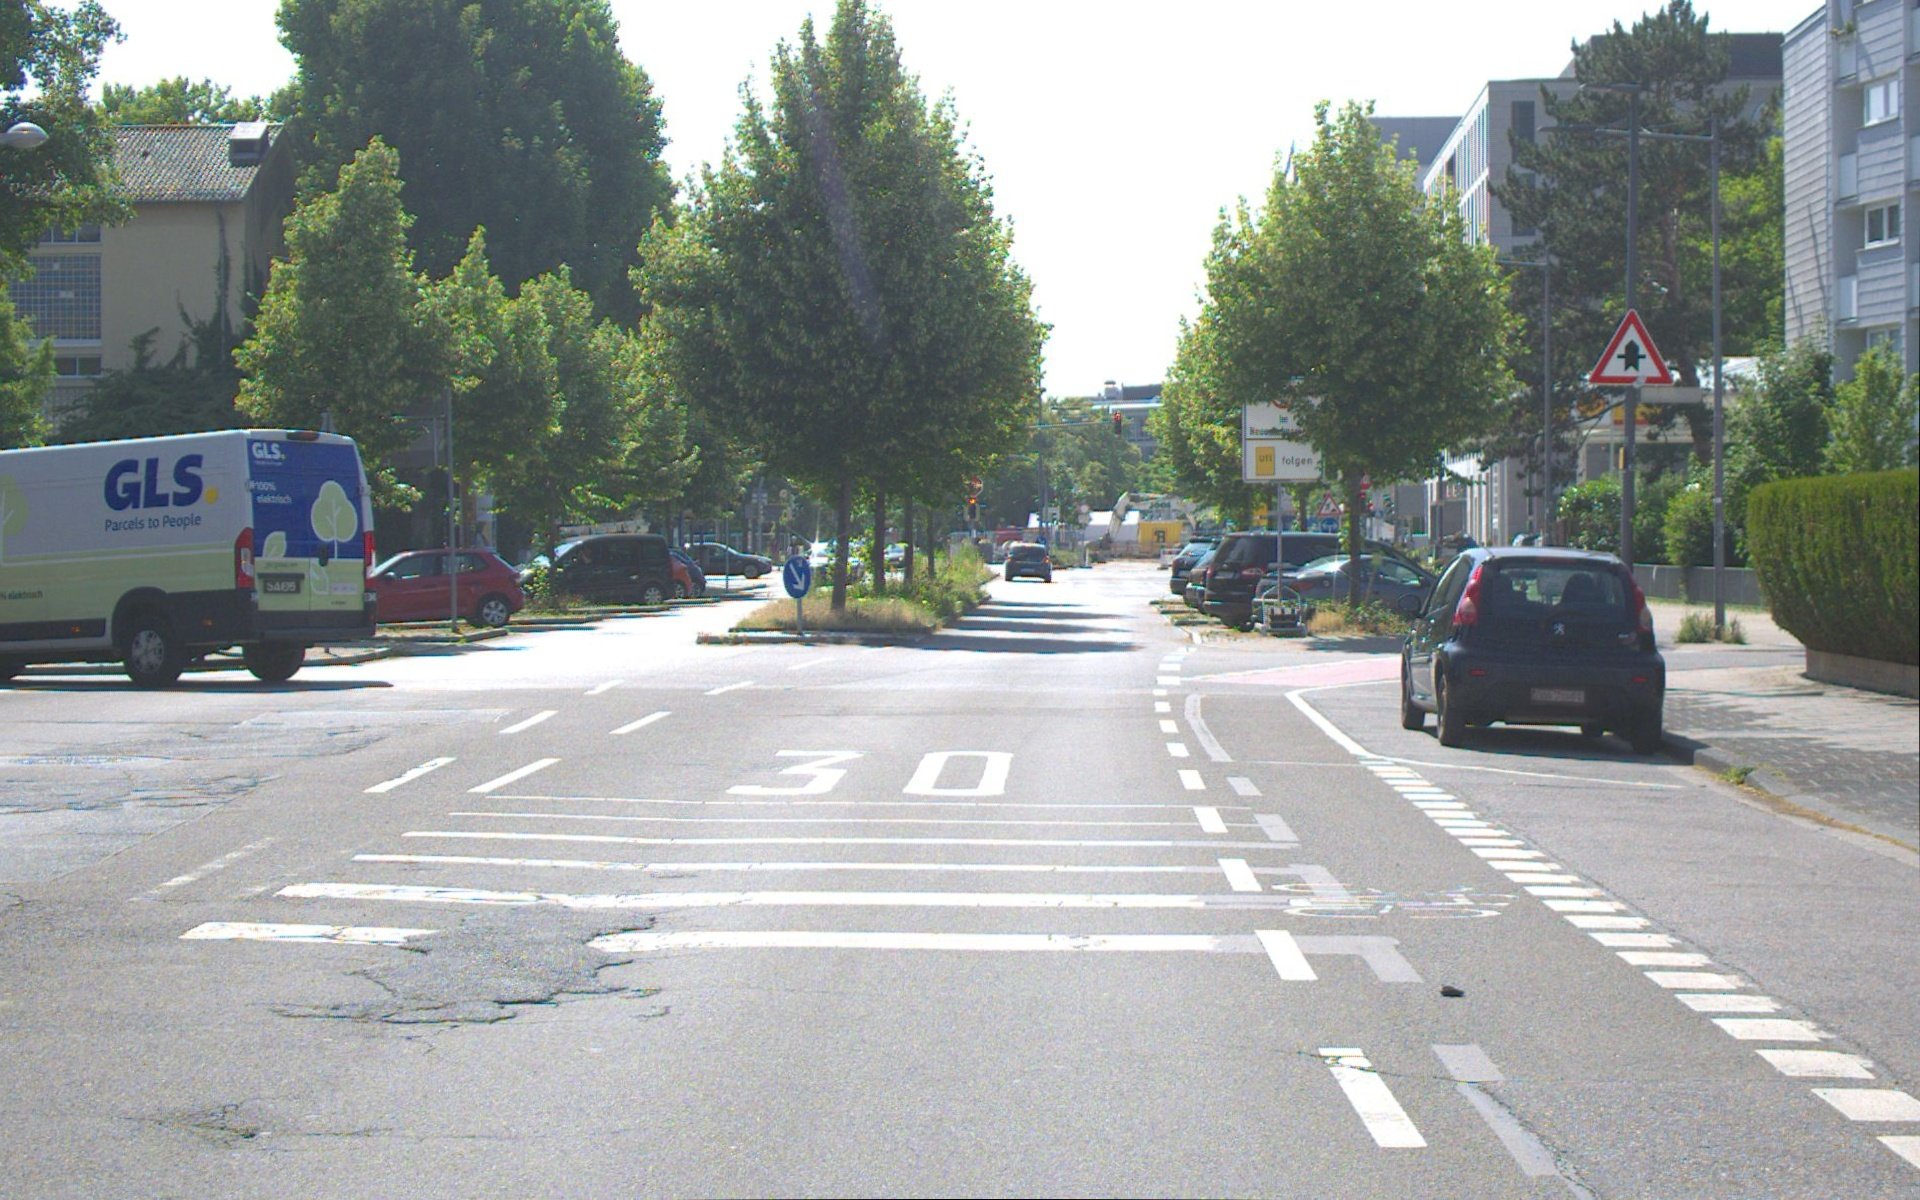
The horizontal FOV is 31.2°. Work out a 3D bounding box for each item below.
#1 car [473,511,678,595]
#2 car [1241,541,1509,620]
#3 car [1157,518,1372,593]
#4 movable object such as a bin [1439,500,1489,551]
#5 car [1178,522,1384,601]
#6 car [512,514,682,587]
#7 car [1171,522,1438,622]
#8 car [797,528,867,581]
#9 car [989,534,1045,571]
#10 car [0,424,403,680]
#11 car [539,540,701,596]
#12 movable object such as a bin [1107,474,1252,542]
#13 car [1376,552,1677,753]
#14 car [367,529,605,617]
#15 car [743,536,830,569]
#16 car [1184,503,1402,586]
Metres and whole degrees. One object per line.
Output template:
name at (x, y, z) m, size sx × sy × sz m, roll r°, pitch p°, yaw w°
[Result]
car at (-8.751, -1.090, 78.373) m, size 4.175 × 1.810 × 2.004 m, roll -2°, pitch 2°, yaw -35°
car at (6.733, -0.332, 55.779) m, size 3.986 × 1.232 × 1.753 m, roll 0°, pitch 1°, yaw -23°
car at (6.925, -1.020, 78.048) m, size 4.730 × 1.654 × 1.753 m, roll -1°, pitch 1°, yaw -31°
movable object such as a bin at (16.067, -2.373, 109.600) m, size 1.307 × 1.586 × 1.396 m, roll -3°, pitch 1°, yaw 0°
car at (6.700, -0.812, 71.963) m, size 3.986 × 1.634 × 1.753 m, roll 0°, pitch 1°, yaw -10°
car at (-8.929, -1.217, 84.555) m, size 3.761 × 1.766 × 1.819 m, roll 0°, pitch 1°, yaw -26°
car at (5.854, -0.498, 58.413) m, size 4.106 × 1.634 × 2.044 m, roll -1°, pitch 1°, yaw -31°
car at (-3.894, -1.396, 105.412) m, size 1.741 × 1.542 × 4.073 m, roll -1°, pitch 1°, yaw 3°
car at (2.140, -1.813, 130.269) m, size 1.993 × 1.393 × 4.000 m, roll 0°, pitch 1°, yaw -1°
car at (-9.026, -0.482, 36.292) m, size 6.126 × 2.515 × 2.279 m, roll -1°, pitch 1°, yaw 31°
car at (-8.809, -0.838, 89.132) m, size 3.830 × 1.418 × 1.715 m, roll -1°, pitch 1°, yaw -33°
movable object such as a bin at (14.826, -6.231, 232.152) m, size 9.676 × 4.534 × 3.164 m, roll 0°, pitch 1°, yaw 4°
car at (4.251, 0.342, 26.327) m, size 1.617 × 1.385 × 4.000 m, roll 1°, pitch 1°, yaw 0°
car at (-8.658, -0.516, 62.717) m, size 3.986 × 1.461 × 2.001 m, roll -2°, pitch 2°, yaw -18°
car at (-7.380, -2.031, 146.287) m, size 3.603 × 1.372 × 1.638 m, roll 0°, pitch 1°, yaw 0°
car at (6.683, -1.128, 69.030) m, size 3.986 × 1.634 × 1.753 m, roll 0°, pitch 2°, yaw -18°
